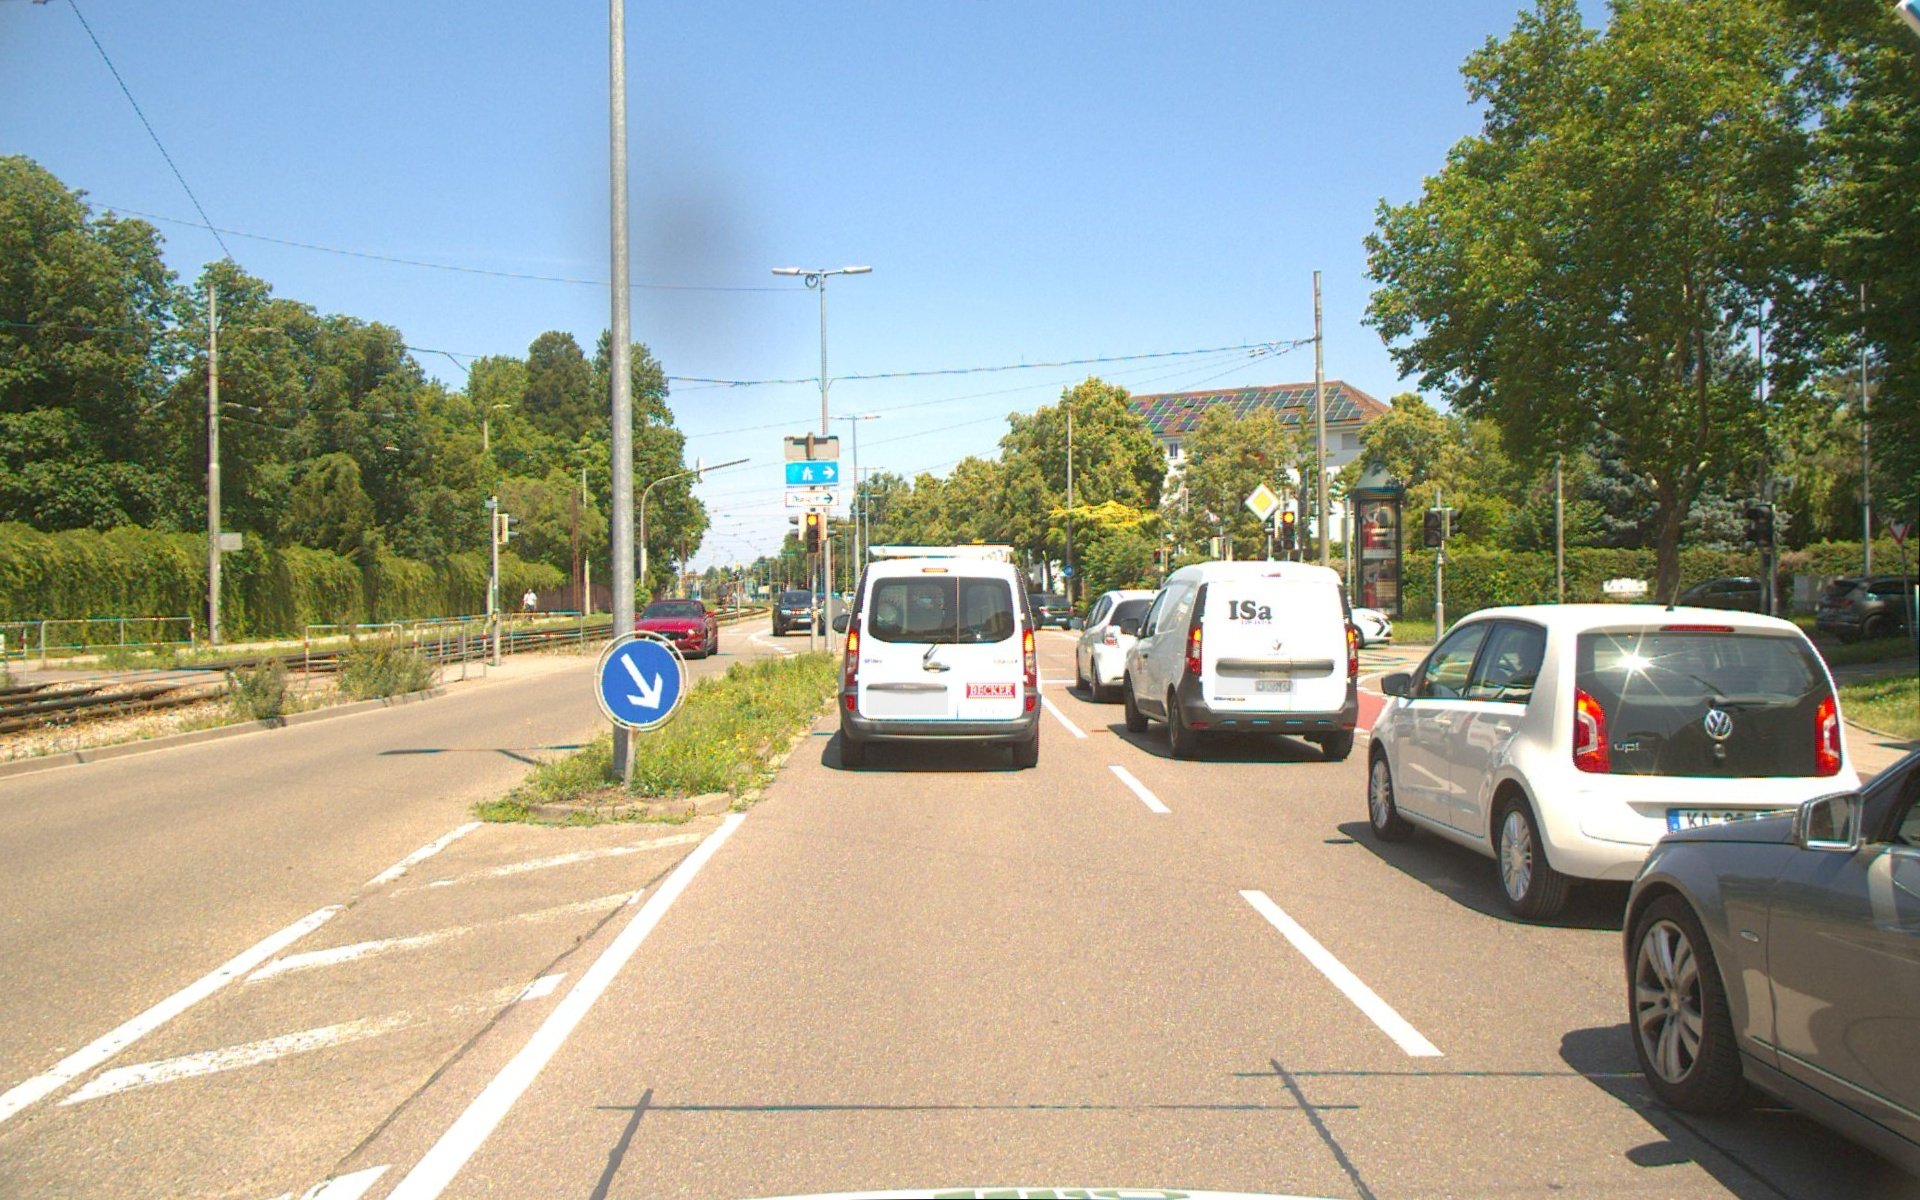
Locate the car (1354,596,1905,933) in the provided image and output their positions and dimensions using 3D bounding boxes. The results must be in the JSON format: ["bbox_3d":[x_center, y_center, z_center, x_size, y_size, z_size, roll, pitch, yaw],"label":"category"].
[{"bbox_3d":[3.389,0.726,9.085,1.574,1.477,3.520,0,0,-1],"label":"car"}]

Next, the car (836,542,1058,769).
[{"bbox_3d":[-0.179,0.446,15.586,1.829,1.868,3.847,0,0,-2],"label":"car"}]

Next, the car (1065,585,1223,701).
[{"bbox_3d":[2.586,0.559,24.066,1.720,1.512,3.999,-1,0,-2],"label":"car"}]

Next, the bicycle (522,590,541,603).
[{"bbox_3d":[-22.084,-0.196,85.304,0.550,0.659,1.720,-1,0,-1],"label":"bicycle"}]

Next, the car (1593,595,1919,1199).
[{"bbox_3d":[3.042,0.735,3.383,1.759,1.475,4.417,-1,0,-1],"label":"car"}]

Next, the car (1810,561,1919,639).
[{"bbox_3d":[23.651,-0.023,40.793,4.428,1.861,2.002,-1,0,14],"label":"car"}]

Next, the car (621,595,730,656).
[{"bbox_3d":[-6.976,0.585,41.043,1.943,1.382,4.538,-1,0,-1],"label":"car"}]

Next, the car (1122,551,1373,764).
[{"bbox_3d":[2.730,0.490,16.564,1.676,1.862,4.012,0,0,-2],"label":"car"}]

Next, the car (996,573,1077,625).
[{"bbox_3d":[3.085,-0.051,67.836,1.964,2.049,3.977,-1,0,-20],"label":"car"}]

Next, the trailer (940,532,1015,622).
[{"bbox_3d":[0.878,-1.106,81.615,3.455,4.121,8.978,-1,0,1],"label":"trailer"}]

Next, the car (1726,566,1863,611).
[{"bbox_3d":[29.681,-0.417,58.913,3.902,1.534,2.002,-1,0,6],"label":"car"}]

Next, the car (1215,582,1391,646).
[{"bbox_3d":[9.155,0.361,44.073,4.348,1.645,2.001,-1,0,20],"label":"car"}]

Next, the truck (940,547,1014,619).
[{"bbox_3d":[0.820,-0.930,90.408,3.504,3.696,8.803,-1,0,-3],"label":"truck"}]

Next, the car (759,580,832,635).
[{"bbox_3d":[-6.020,0.252,60.192,1.961,1.892,3.983,-1,0,-16],"label":"car"}]

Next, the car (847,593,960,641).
[{"bbox_3d":[-1.765,0.494,50.559,1.527,1.403,3.952,-1,0,-36],"label":"car"}]

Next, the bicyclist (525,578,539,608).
[{"bbox_3d":[-22.089,-0.366,85.331,0.546,1.504,0.561,-1,0,-1],"label":"bicyclist"}]
